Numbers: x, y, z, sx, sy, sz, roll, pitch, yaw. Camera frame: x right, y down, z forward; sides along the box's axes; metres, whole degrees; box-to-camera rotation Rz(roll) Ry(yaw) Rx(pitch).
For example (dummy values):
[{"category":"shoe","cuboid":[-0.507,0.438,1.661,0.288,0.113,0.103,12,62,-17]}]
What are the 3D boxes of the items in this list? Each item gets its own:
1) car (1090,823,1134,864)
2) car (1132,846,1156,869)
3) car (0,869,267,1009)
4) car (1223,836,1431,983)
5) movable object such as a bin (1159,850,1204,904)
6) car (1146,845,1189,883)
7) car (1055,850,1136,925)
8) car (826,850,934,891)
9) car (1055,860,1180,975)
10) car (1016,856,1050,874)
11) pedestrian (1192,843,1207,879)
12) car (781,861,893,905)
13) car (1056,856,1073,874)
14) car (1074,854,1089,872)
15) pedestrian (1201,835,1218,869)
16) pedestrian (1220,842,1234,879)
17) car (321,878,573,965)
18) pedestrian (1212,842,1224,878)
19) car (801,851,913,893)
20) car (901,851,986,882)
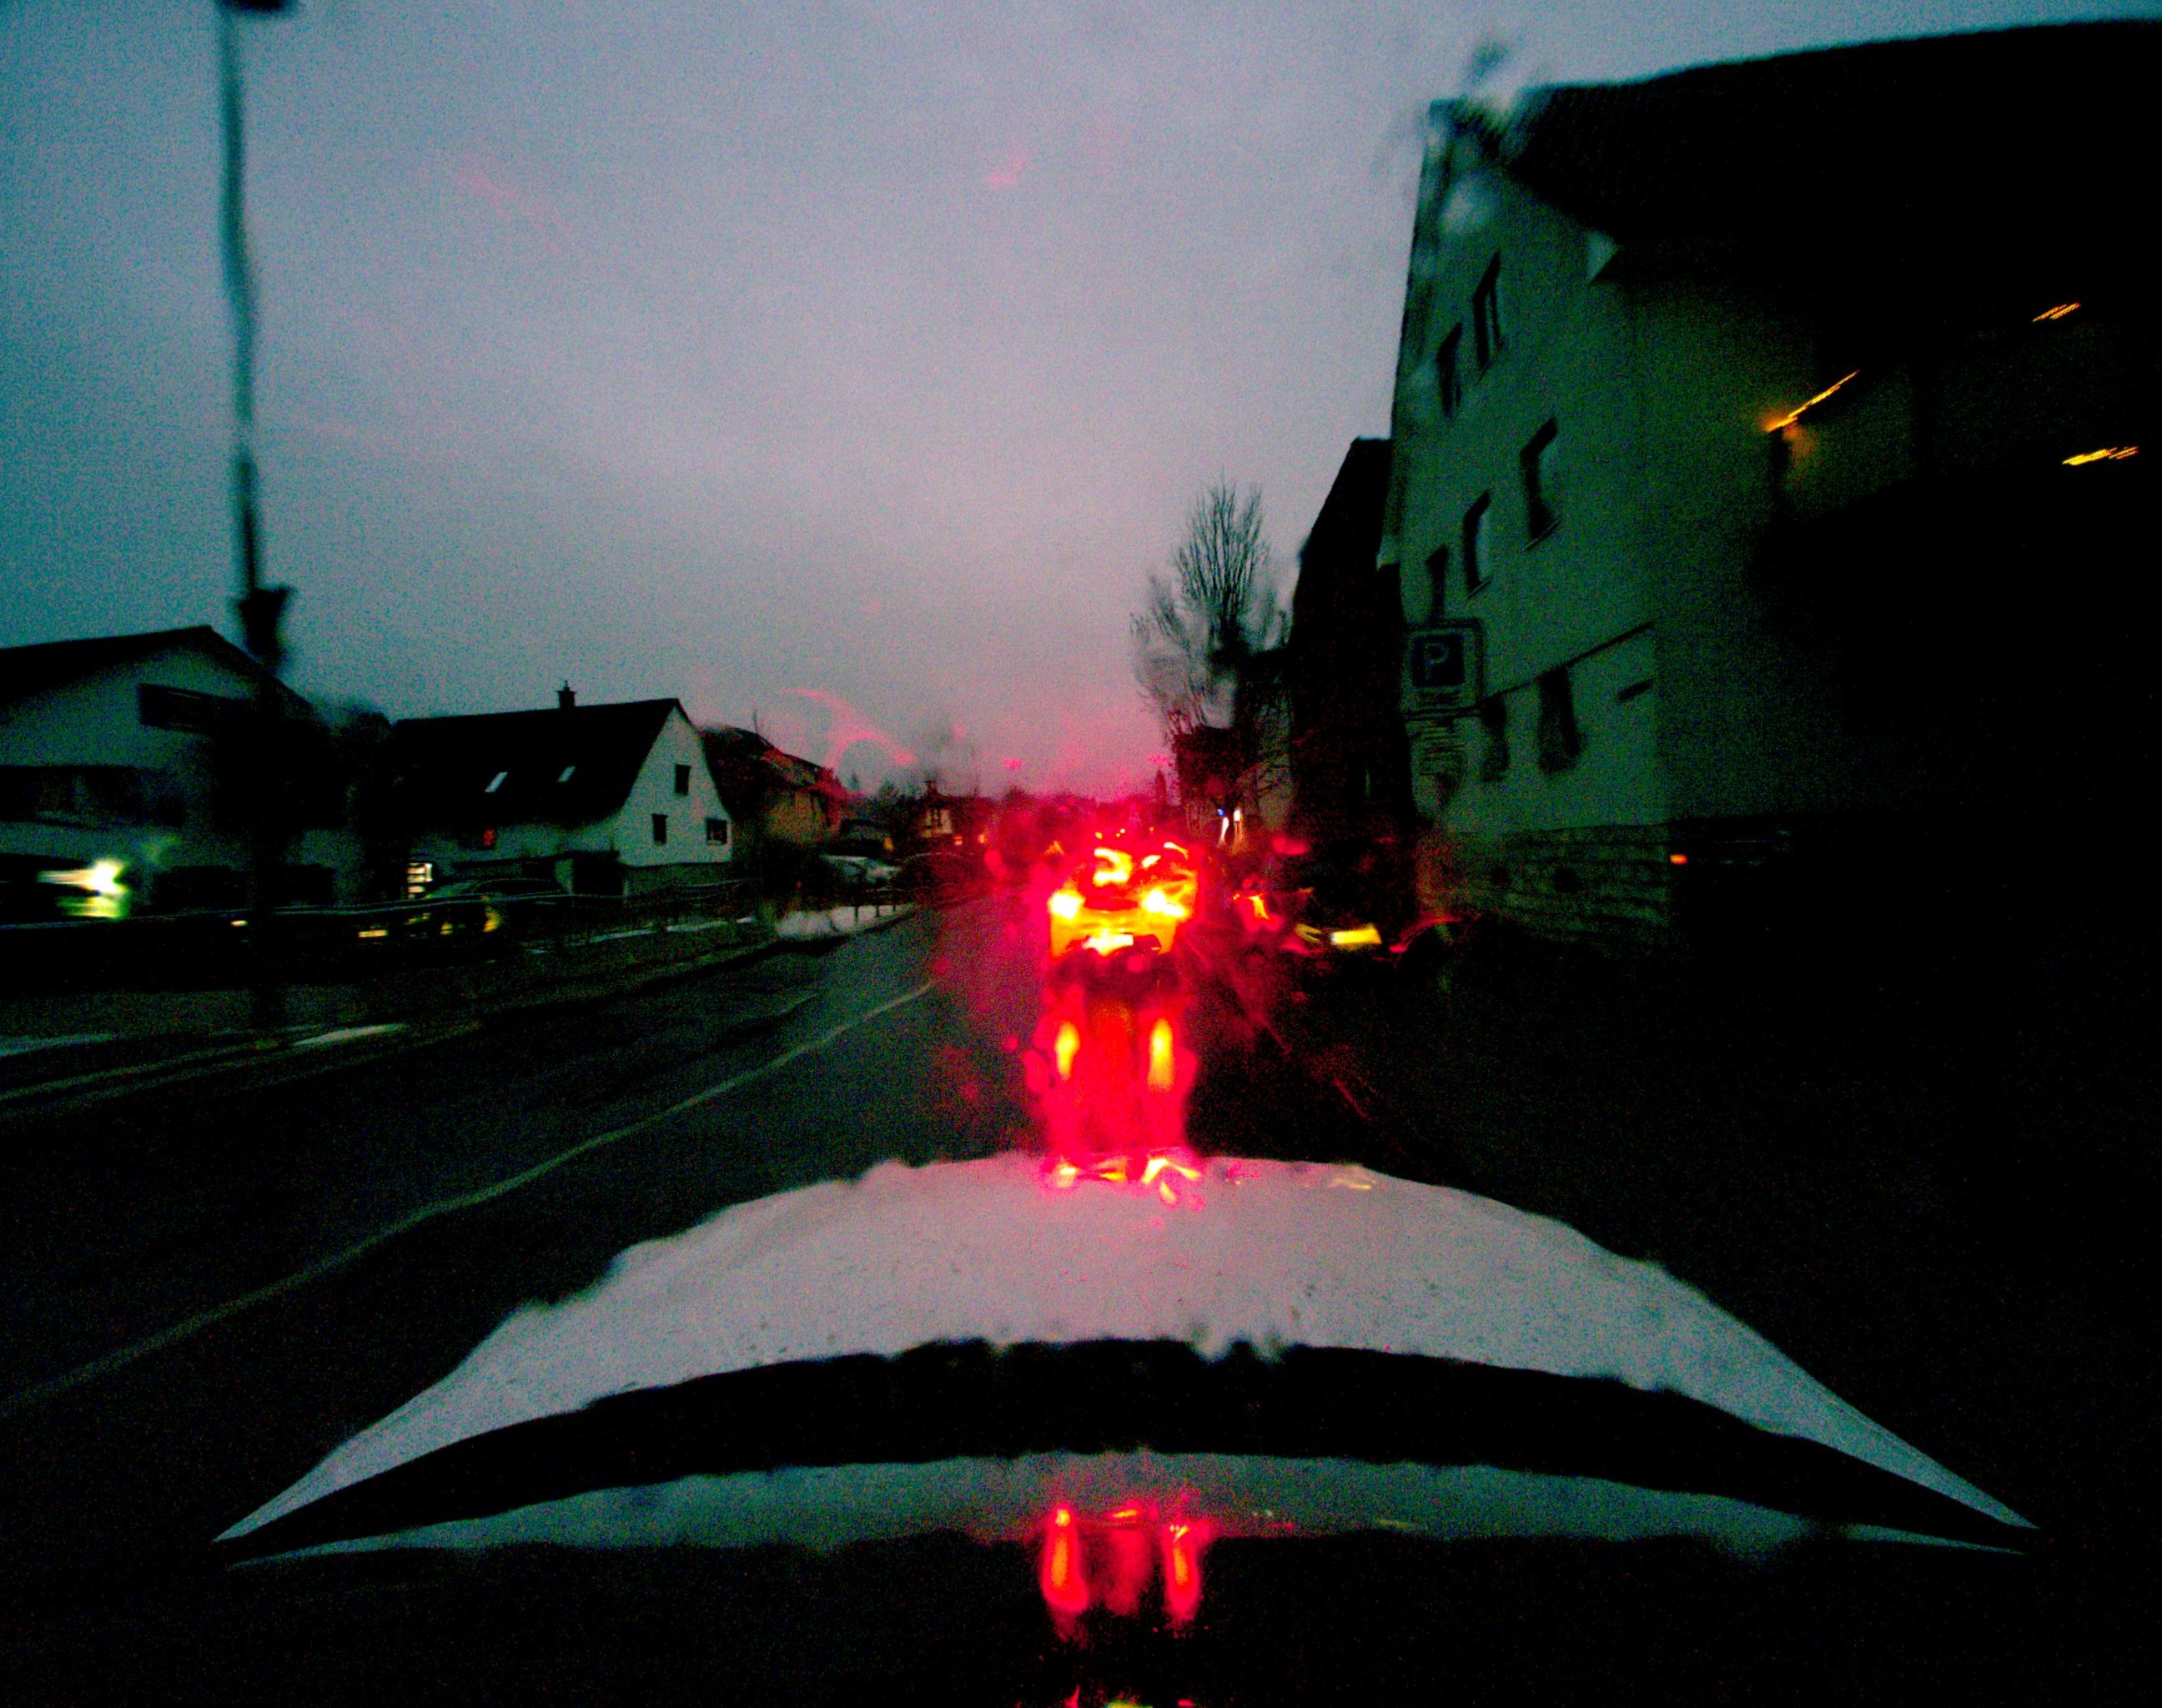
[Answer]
[{"category":"car","cuboid":[2.417,-0.767,66.567,3.182,3.032,6.300,-1,-2,-2]},{"category":"car","cuboid":[5.539,0.322,72.142,1.989,1.865,4.085,-2,-1,3]},{"category":"car","cuboid":[-14.704,1.210,11.300,1.745,1.701,4.575,-5,0,8]},{"category":"car","cuboid":[3.058,0.592,11.018,1.720,1.464,4.204,-5,0,4]},{"category":"movable object such as a bin","cuboid":[2.932,0.660,23.966,1.124,1.420,1.419,-5,0,4]},{"category":"car","cuboid":[4.227,0.489,40.314,1.729,1.692,4.387,-3,0,2]},{"category":"car","cuboid":[0.392,0.740,19.840,1.759,1.628,3.588,-1,0,2]},{"category":"car","cuboid":[-8.452,0.687,34.453,4.073,1.608,1.589,-2,-1,5]},{"category":"car","cuboid":[0.522,0.813,11.790,1.557,1.412,3.019,-1,0,2]},{"category":"car","cuboid":[-6.032,1.407,102.004,2.011,2.167,4.332,2,-3,-44]},{"category":"pedestrian","cuboid":[5.635,0.328,38.771,0.570,1.699,0.653,-4,-1,3]},{"category":"car","cuboid":[-8.686,1.027,29.175,3.432,1.372,1.601,-3,0,1]},{"category":"car","cuboid":[-1.904,1.283,95.267,1.913,2.028,3.974,-1,-2,0]},{"category":"car","cuboid":[0.090,1.188,103.188,1.913,2.216,3.974,-1,-2,0]},{"category":"pedestrian","cuboid":[6.754,-0.113,42.769,0.707,1.715,1.039,-3,0,16]},{"category":"pedestrian","cuboid":[6.588,0.297,36.680,0.525,1.653,0.957,-1,-3,12]},{"category":"car","cuboid":[-13.998,1.406,18.427,1.794,1.482,4.577,-4,-1,4]},{"category":"pedestrian","cuboid":[6.851,0.300,40.803,0.525,1.800,0.867,-1,0,12]},{"category":"car","cuboid":[-8.738,0.697,31.917,3.771,1.523,1.719,-2,-1,8]},{"category":"car","cuboid":[-8.085,0.719,48.189,4.611,1.667,1.999,-2,-1,-1]}]
